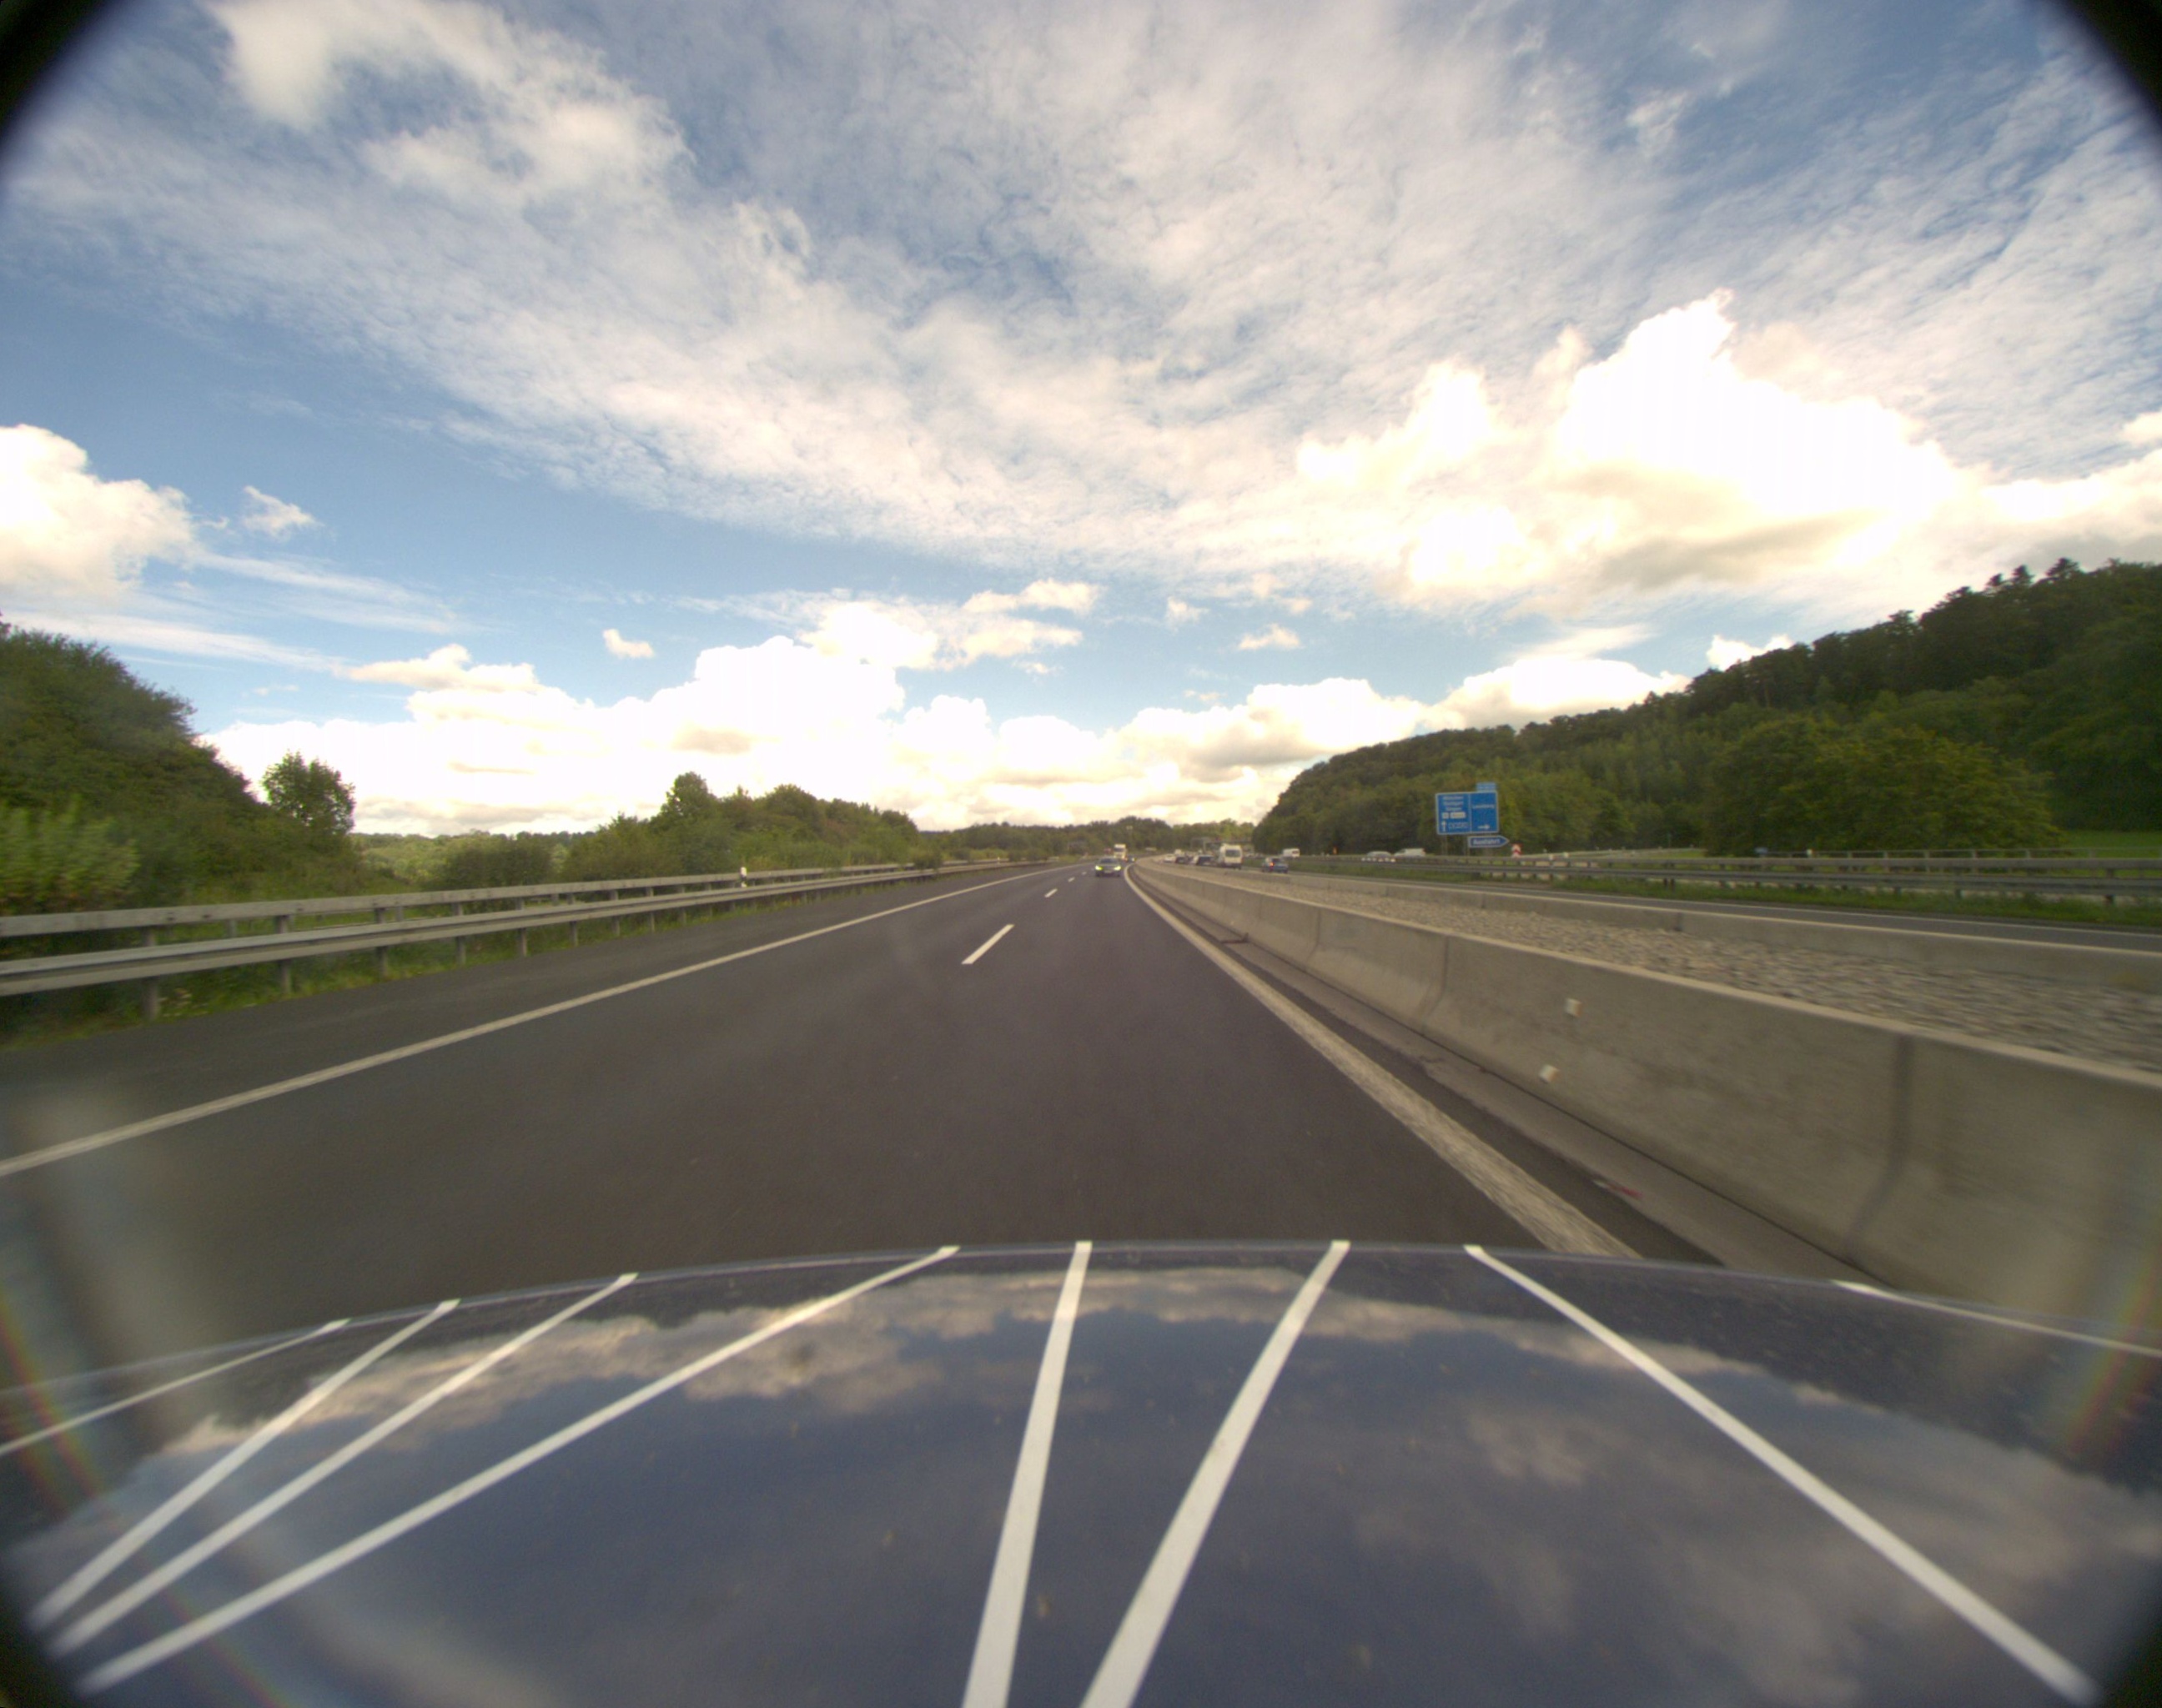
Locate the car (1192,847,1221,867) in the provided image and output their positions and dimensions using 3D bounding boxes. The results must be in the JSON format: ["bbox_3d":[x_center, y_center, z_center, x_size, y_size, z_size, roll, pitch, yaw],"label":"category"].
[{"bbox_3d":[10.516,0.211,63.884,1.754,1.621,4.841,-1,1,2],"label":"car"}]

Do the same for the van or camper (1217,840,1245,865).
[{"bbox_3d":[16.026,-0.202,81.525,2.105,2.521,5.422,-1,1,2],"label":"van or camper"}]

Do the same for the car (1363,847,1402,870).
[{"bbox_3d":[26.162,0.371,66.115,1.998,1.827,4.001,-1,1,4],"label":"car"}]

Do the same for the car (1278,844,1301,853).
[{"bbox_3d":[46.449,-1.240,169.221,2.002,2.002,5.146,-2,1,-25],"label":"car"}]

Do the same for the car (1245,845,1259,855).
[{"bbox_3d":[33.205,-0.818,147.806,1.998,1.761,4.000,-1,1,3],"label":"car"}]

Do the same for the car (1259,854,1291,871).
[{"bbox_3d":[17.224,0.703,67.504,1.754,1.413,4.208,-1,1,0],"label":"car"}]

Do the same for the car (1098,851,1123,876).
[{"bbox_3d":[2.184,0.717,57.056,1.724,1.722,3.939,-2,1,2],"label":"car"}]

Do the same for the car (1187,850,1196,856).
[{"bbox_3d":[27.131,-0.348,186.454,1.898,1.444,3.939,-1,1,10],"label":"car"}]

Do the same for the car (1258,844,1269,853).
[{"bbox_3d":[46.214,-1.411,192.786,1.998,2.002,4.001,-1,1,4],"label":"car"}]

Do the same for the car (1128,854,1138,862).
[{"bbox_3d":[11.192,0.859,163.500,1.753,1.621,4.843,-1,1,6],"label":"car"}]

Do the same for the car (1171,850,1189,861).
[{"bbox_3d":[12.819,0.181,98.714,1.868,1.413,4.425,-1,1,2],"label":"car"}]

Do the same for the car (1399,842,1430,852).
[{"bbox_3d":[63.472,-1.333,144.628,5.142,1.912,2.178,-1,1,33],"label":"car"}]

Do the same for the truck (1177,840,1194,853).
[{"bbox_3d":[34.604,-2.542,252.017,3.603,4.306,8.543,-1,1,22],"label":"truck"}]

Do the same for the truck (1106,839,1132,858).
[{"bbox_3d":[9.605,-1.398,191.160,4.944,4.306,14.638,-1,1,9],"label":"truck"}]

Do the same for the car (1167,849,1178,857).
[{"bbox_3d":[16.646,-0.176,138.126,1.755,1.444,3.938,-1,1,8],"label":"car"}]
